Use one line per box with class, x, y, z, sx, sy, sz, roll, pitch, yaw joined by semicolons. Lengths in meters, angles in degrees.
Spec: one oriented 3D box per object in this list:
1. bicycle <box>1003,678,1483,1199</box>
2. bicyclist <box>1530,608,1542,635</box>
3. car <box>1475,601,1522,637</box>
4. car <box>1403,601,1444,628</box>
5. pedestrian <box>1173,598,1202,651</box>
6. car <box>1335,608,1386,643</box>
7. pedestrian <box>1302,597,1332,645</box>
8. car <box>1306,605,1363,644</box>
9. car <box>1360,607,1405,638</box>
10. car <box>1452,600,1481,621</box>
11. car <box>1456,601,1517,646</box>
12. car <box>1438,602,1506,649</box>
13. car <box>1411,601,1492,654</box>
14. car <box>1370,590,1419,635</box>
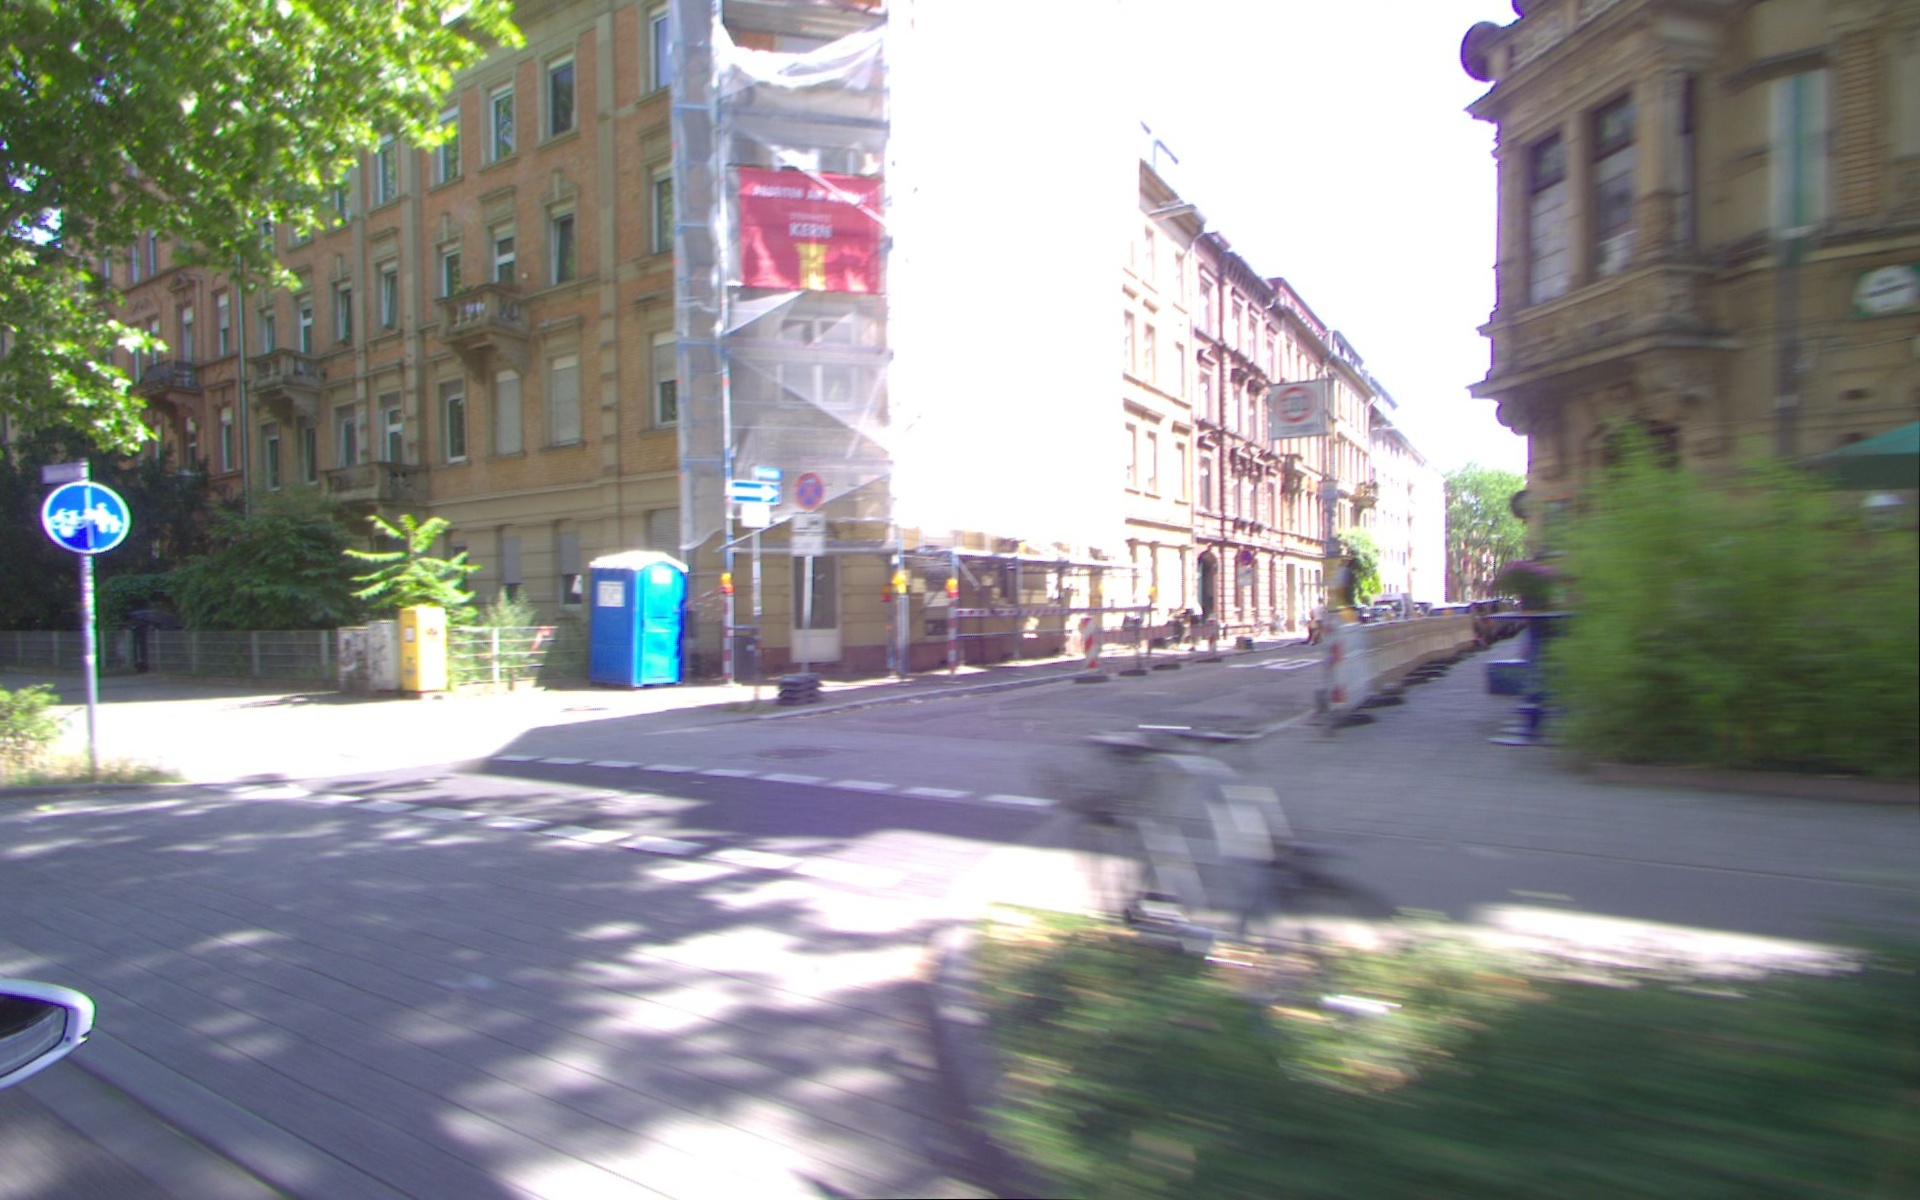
bicycle;0.714;0.852;3.045;0.416;1.120;1.609;-1;0;-27
bicyclist;30.658;1.140;53.288;0.524;1.472;0.459;0;0;27
car;27.946;0.969;51.910;1.971;1.762;3.980;-1;0;31
car;30.490;0.920;65.781;1.887;1.732;4.139;-1;0;33
pedestrian;7.660;0.834;33.635;0.843;1.748;0.834;-1;0;19
car;18.779;1.155;46.865;1.702;1.549;3.478;-1;0;30
pedestrian;13.604;0.788;38.173;0.922;1.822;1.034;0;0;29
car;15.819;1.020;42.239;1.702;1.549;3.478;-1;0;30
car;21.952;1.157;51.920;1.702;1.549;3.478;-1;0;30
car;44.116;0.921;87.169;1.886;1.732;4.140;-1;0;32
car;21.769;0.939;41.354;1.971;1.762;3.980;-1;0;31
car;19.231;0.925;37.528;1.971;1.661;3.980;-1;0;31
car;15.903;0.844;32.305;1.971;1.572;3.980;-1;0;31
car;24.467;0.703;56.298;1.887;2.405;4.224;-1;0;33
